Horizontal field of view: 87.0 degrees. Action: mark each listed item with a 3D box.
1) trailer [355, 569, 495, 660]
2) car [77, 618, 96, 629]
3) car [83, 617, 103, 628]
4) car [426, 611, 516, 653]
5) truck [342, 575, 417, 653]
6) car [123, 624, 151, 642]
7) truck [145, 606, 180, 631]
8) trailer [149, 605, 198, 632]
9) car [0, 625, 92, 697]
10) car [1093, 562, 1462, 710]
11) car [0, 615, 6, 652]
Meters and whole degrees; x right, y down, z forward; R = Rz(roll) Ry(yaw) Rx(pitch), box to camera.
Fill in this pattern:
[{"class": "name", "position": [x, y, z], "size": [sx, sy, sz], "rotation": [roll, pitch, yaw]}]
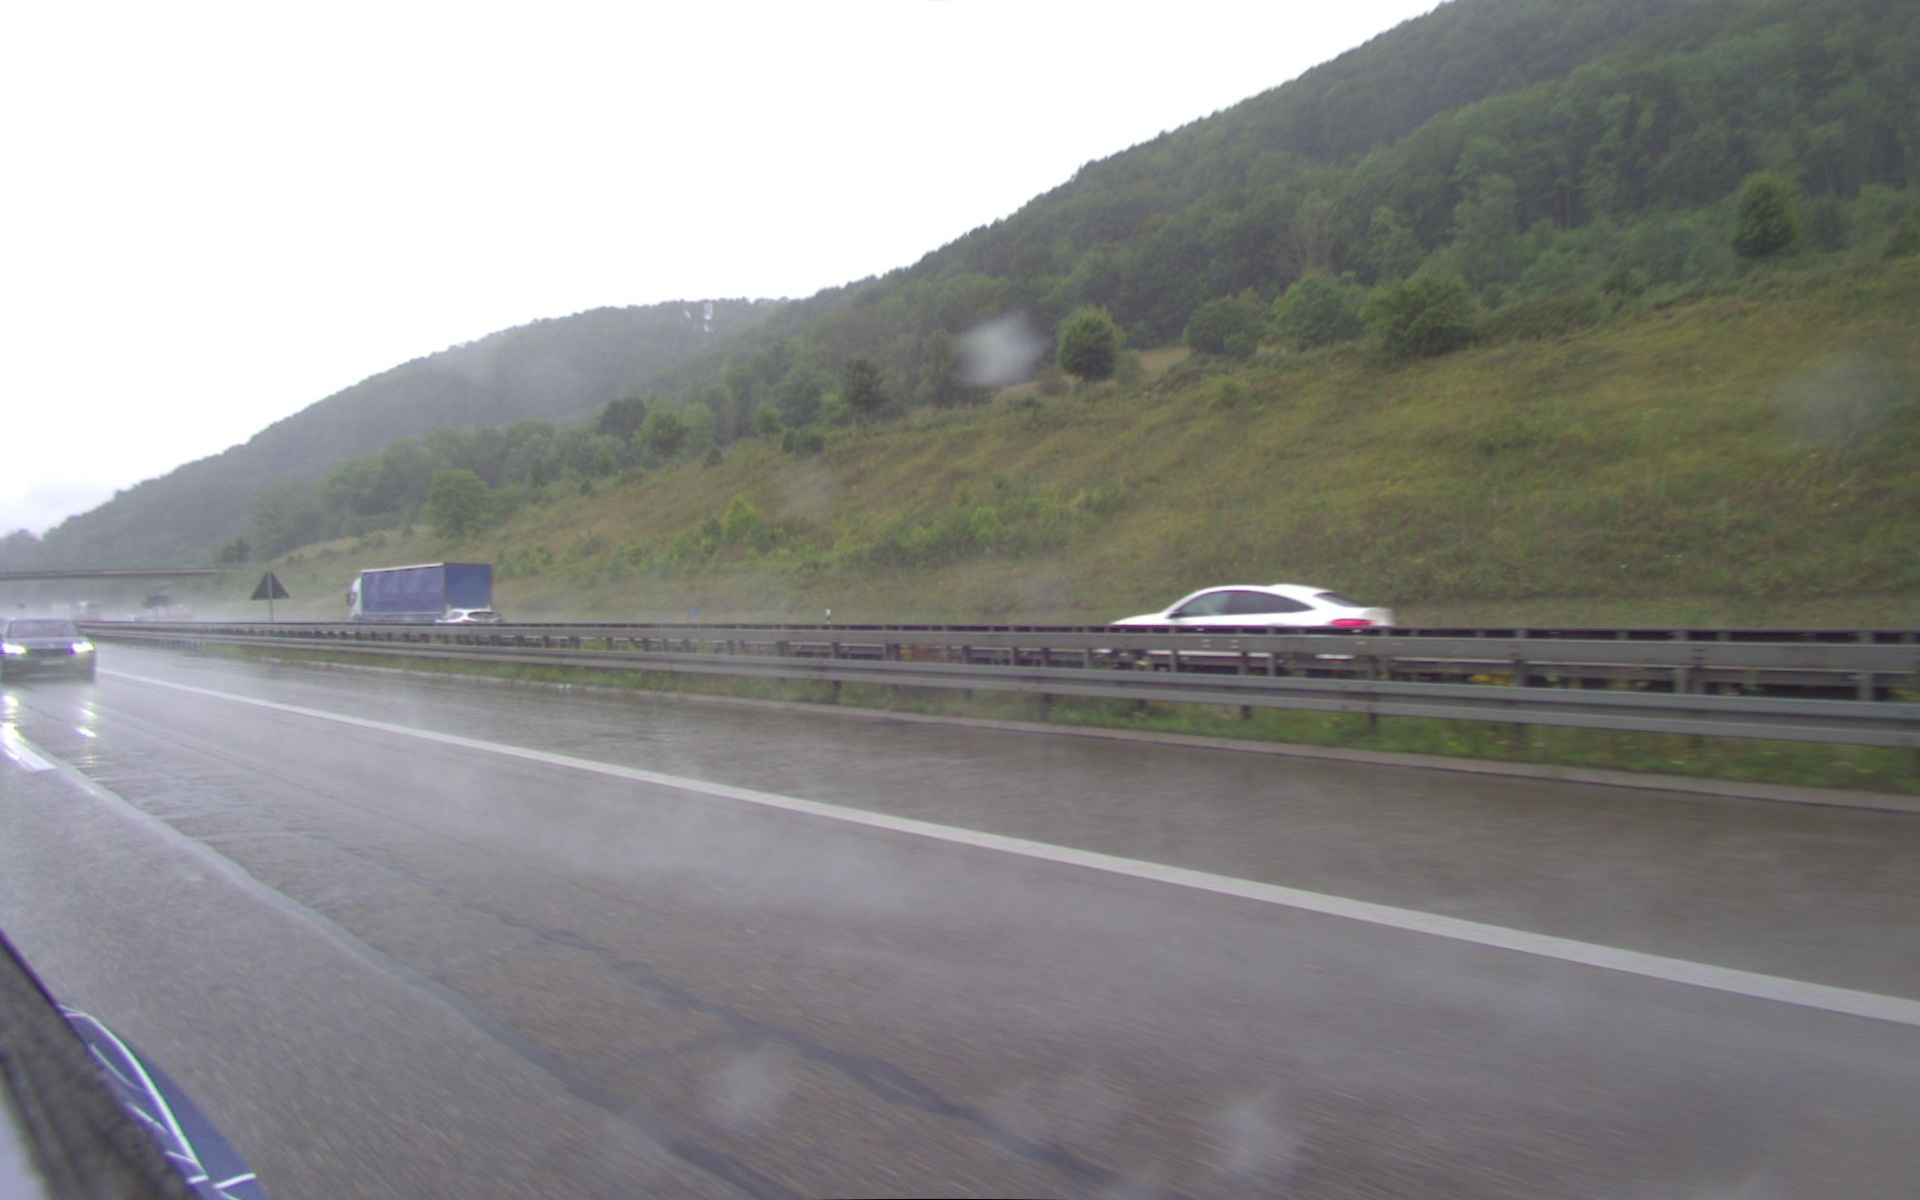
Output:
[{"class": "trailer", "position": [-31.652, 0.874, 59.409], "size": [14.041, 4.822, 2.707], "rotation": [-1, -1, 43]}, {"class": "car", "position": [-170.392, 4.619, 197.500], "size": [4.706, 2.029, 2.361], "rotation": [-1, 0, 44]}, {"class": "car", "position": [-163.852, 4.182, 191.258], "size": [4.706, 2.029, 2.361], "rotation": [-1, 0, 44]}, {"class": "car", "position": [-21.819, 1.407, 45.062], "size": [4.657, 1.758, 1.972], "rotation": [-1, -1, 42]}, {"class": "truck", "position": [-36.773, 0.889, 64.080], "size": [5.155, 4.708, 2.660], "rotation": [-2, -1, 42]}, {"class": "car", "position": [-96.944, 3.925, 119.212], "size": [4.000, 2.029, 1.972], "rotation": [-1, -1, 43]}, {"class": "truck", "position": [-101.138, 2.329, 128.302], "size": [5.518, 3.021, 2.777], "rotation": [-2, -1, 44]}, {"class": "trailer", "position": [-95.885, 2.240, 123.209], "size": [14.905, 3.076, 2.782], "rotation": [-2, -1, 44]}, {"class": "car", "position": [-24.190, 1.516, 26.266], "size": [4.909, 1.696, 1.971], "rotation": [-1, -2, 43]}, {"class": "car", "position": [4.952, 0.549, 16.449], "size": [5.390, 2.029, 1.972], "rotation": [-2, -1, 43]}, {"class": "car", "position": [-45.963, 1.565, 47.234], "size": [3.748, 1.715, 1.791], "rotation": [-1, 0, 42]}]
